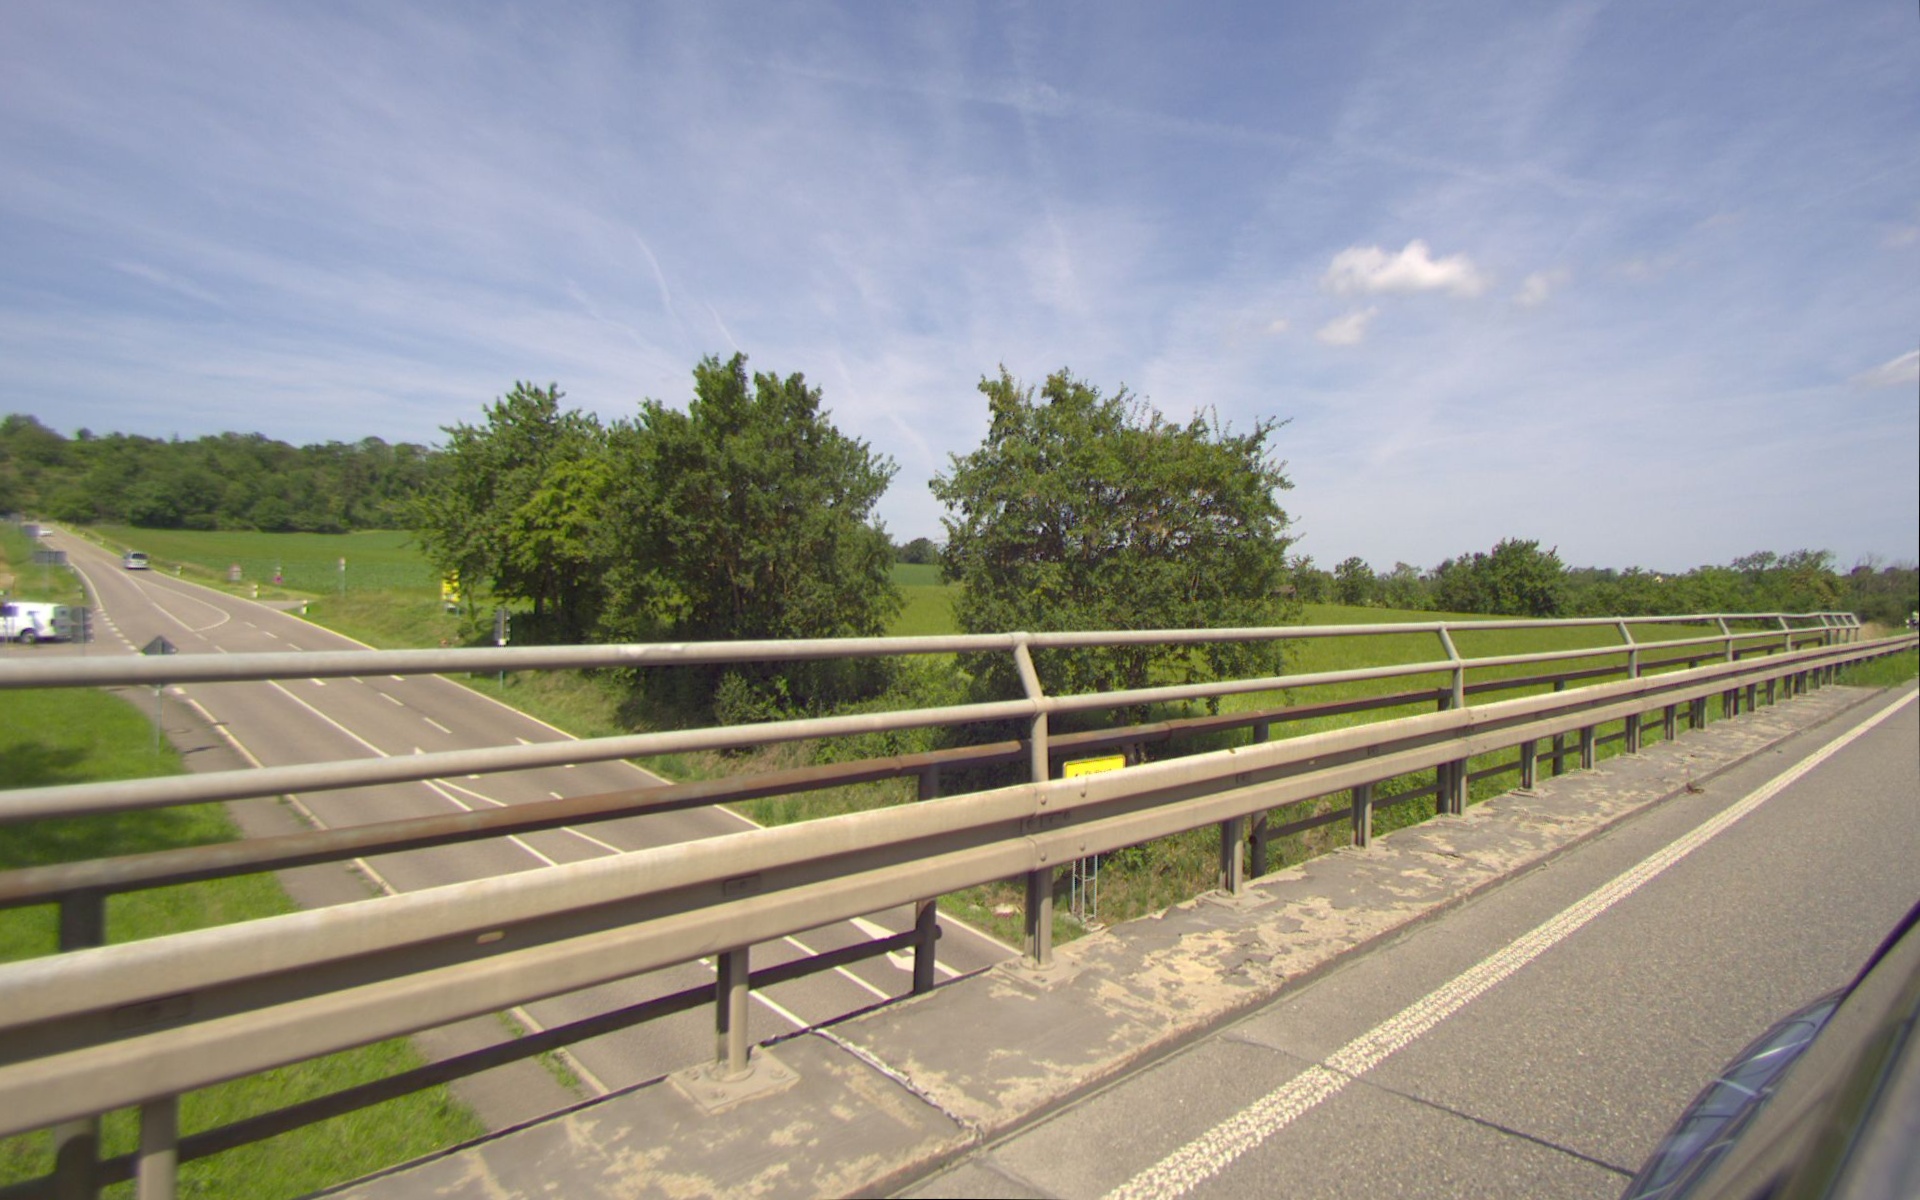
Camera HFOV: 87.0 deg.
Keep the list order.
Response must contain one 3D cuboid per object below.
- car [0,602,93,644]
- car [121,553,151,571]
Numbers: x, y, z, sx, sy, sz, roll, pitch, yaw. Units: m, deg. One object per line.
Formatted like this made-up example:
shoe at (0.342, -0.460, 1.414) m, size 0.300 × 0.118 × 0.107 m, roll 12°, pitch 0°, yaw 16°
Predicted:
car at (-46.030, 1.117, 49.350) m, size 5.306 × 1.870 × 2.005 m, roll 1°, pitch 1°, yaw -17°
car at (-83.863, -3.834, 102.975) m, size 3.989 × 1.568 × 1.783 m, roll 6°, pitch 4°, yaw 43°
